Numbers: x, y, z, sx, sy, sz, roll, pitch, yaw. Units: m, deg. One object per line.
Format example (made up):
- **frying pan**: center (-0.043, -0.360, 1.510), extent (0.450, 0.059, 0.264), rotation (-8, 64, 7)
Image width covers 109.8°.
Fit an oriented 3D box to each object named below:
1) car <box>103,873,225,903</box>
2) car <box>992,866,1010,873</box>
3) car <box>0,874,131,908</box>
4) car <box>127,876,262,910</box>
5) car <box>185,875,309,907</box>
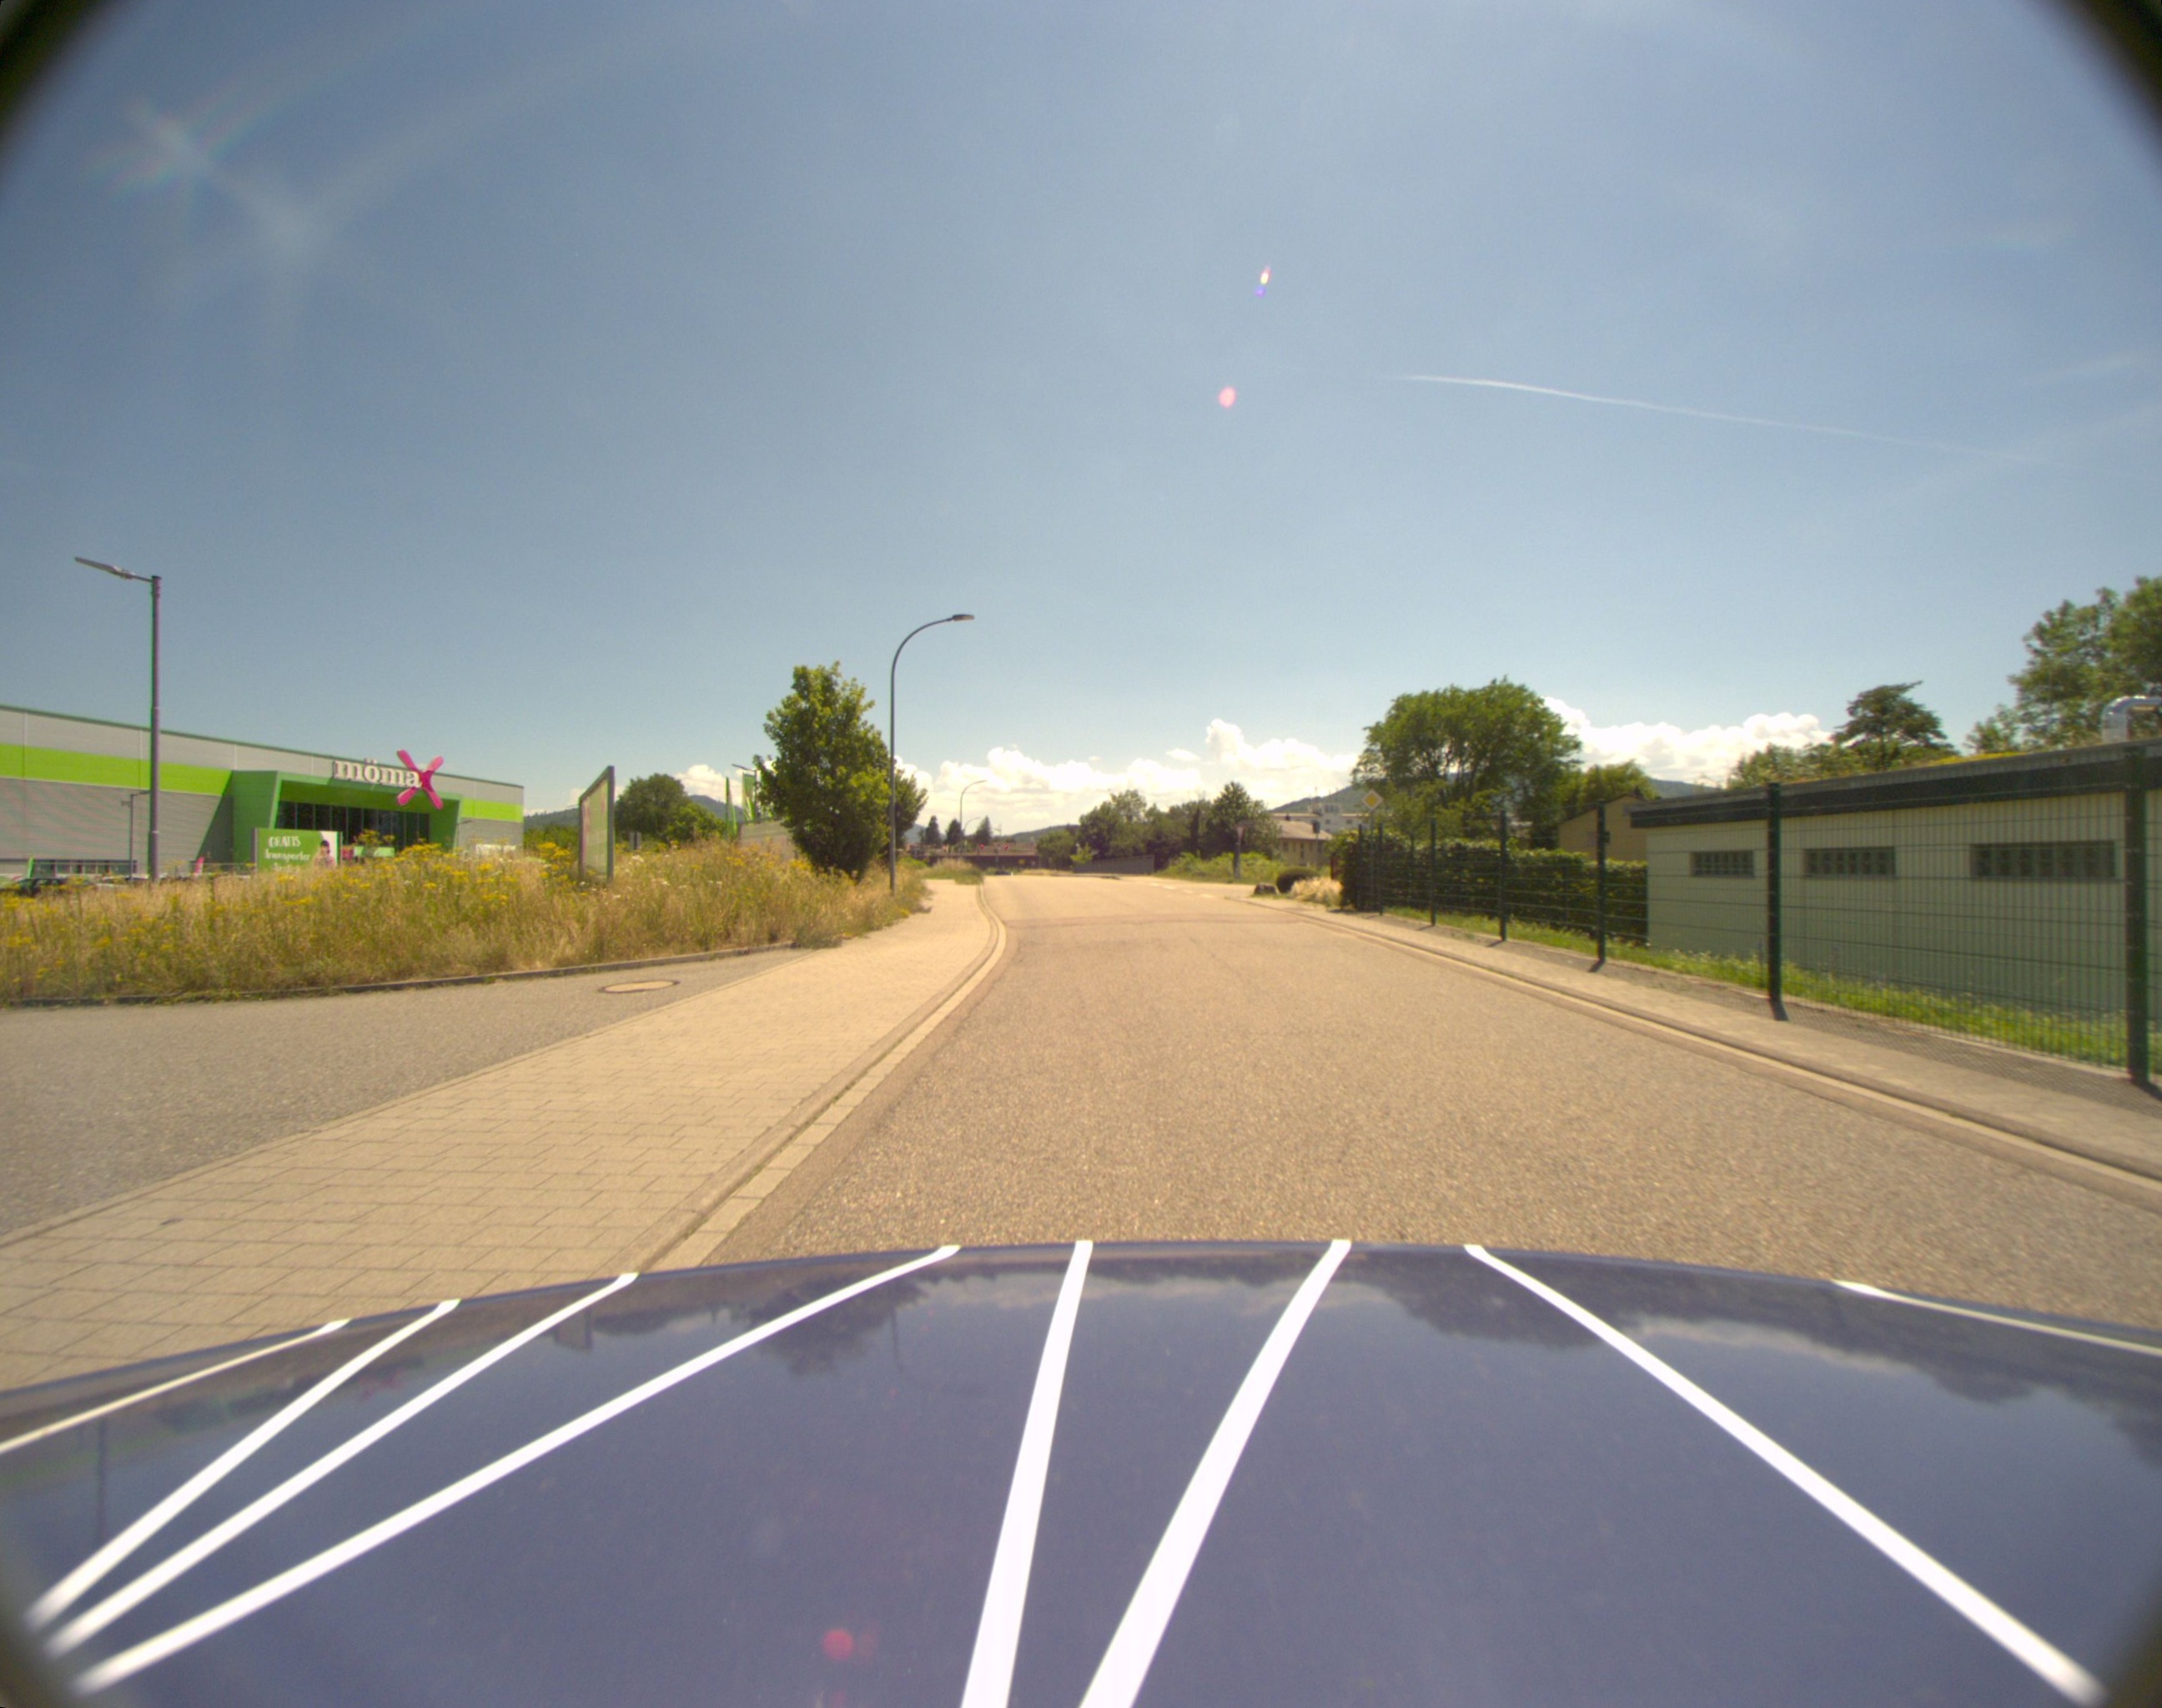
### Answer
- **car**: center (-48.528, 1.763, 40.272), extent (3.997, 1.496, 1.947), rotation (1, -1, -1)
- **car**: center (-17.539, 3.419, 166.817), extent (3.742, 1.531, 1.849), rotation (1, 1, -1)
- **car**: center (-48.311, 1.740, 36.013), extent (3.997, 1.496, 1.947), rotation (1, -1, -1)
- **car**: center (-41.397, 1.804, 35.555), extent (3.997, 1.522, 1.947), rotation (1, -1, -1)
- **car**: center (-41.819, 1.853, 38.166), extent (3.997, 1.522, 1.947), rotation (1, -1, -1)
